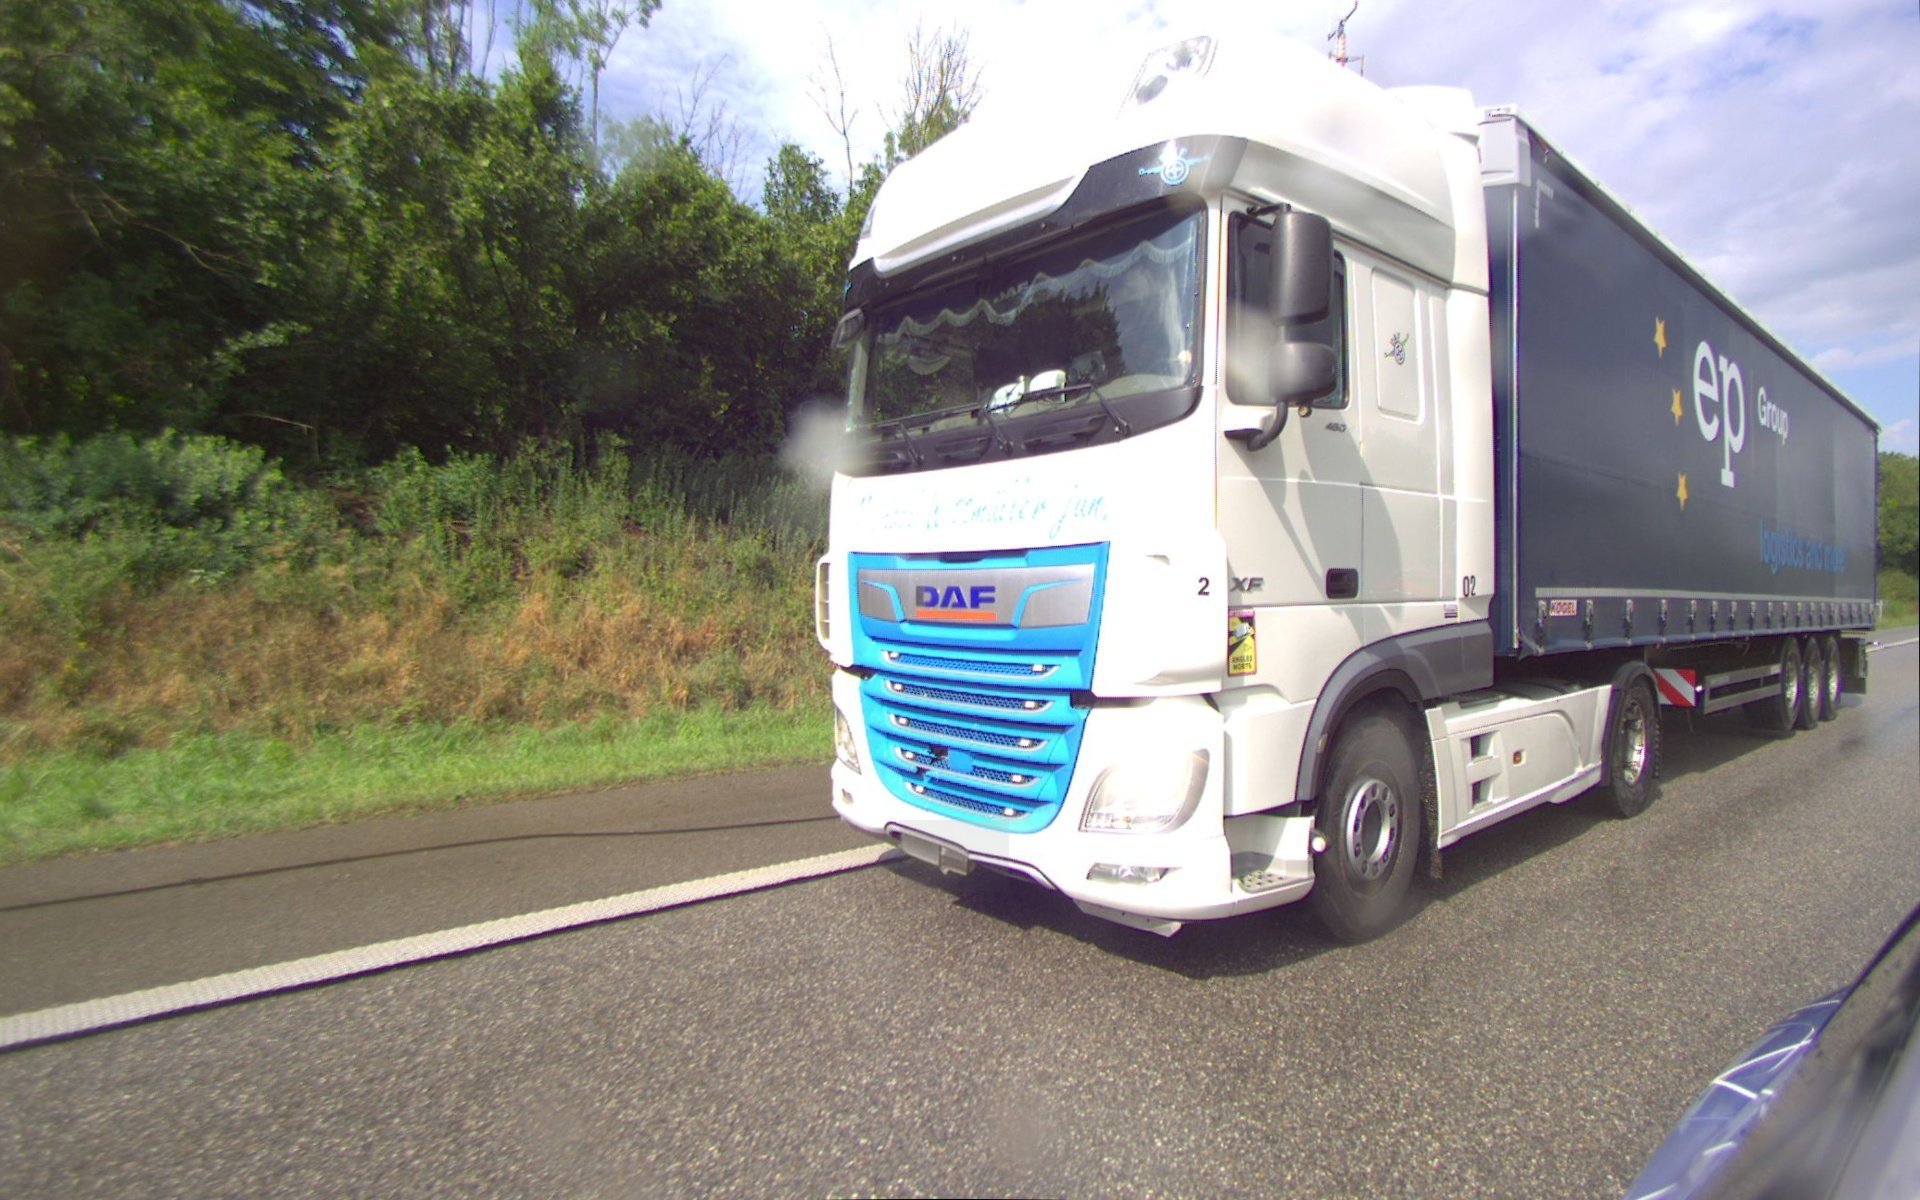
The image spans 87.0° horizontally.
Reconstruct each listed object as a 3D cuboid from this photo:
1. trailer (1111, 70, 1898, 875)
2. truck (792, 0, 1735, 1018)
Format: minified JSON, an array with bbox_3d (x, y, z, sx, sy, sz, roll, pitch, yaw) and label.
[{"bbox_3d":[7.110,-0.708,10.651,13.820,4.046,2.639,-1,0,-41],"label":"trailer"},{"bbox_3d":[2.649,-0.676,6.719,7.163,4.046,2.611,0,0,-41],"label":"truck"}]
